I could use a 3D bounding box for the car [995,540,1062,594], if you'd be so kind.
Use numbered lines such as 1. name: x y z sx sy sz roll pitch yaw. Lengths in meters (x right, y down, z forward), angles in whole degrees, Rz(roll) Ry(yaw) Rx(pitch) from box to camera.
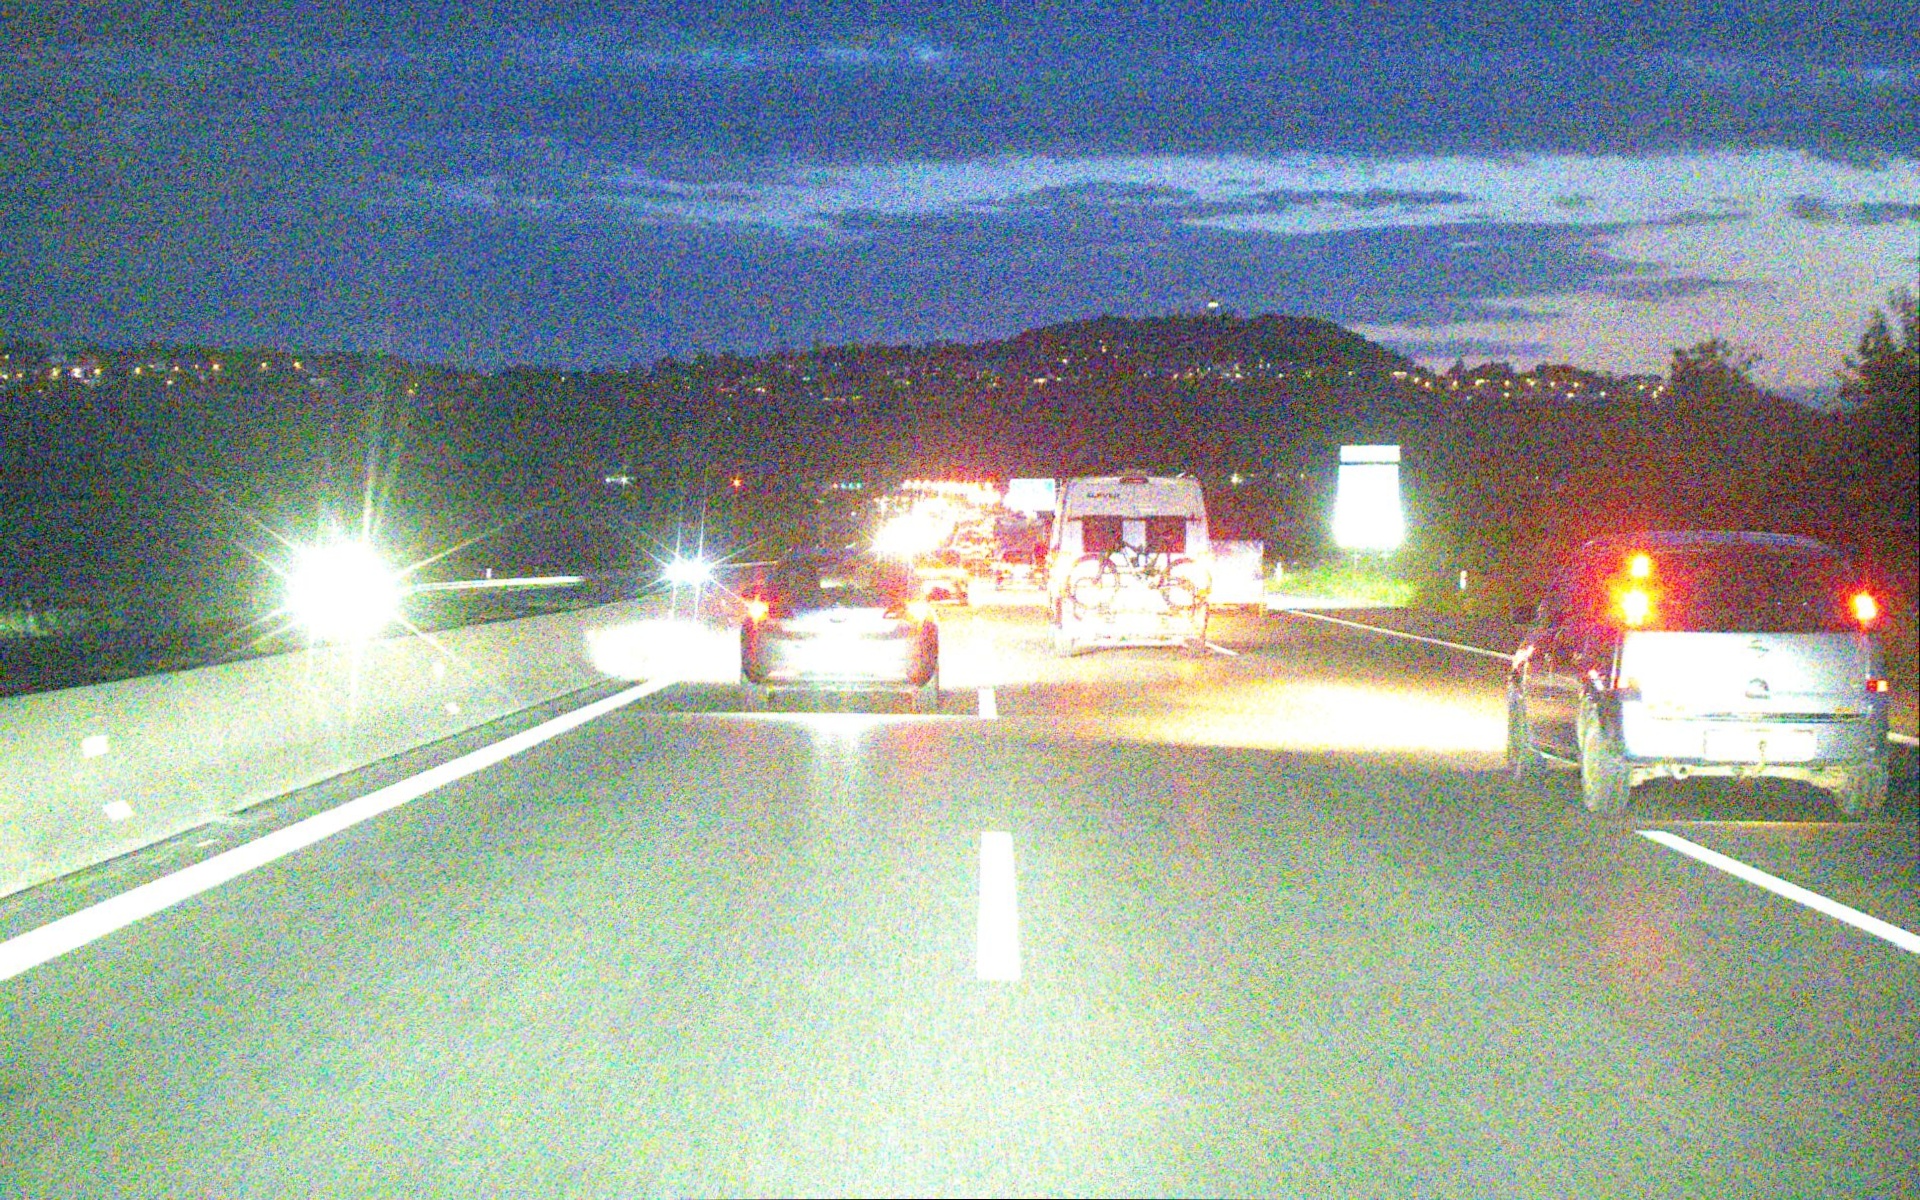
1. car: 2.490 -1.221 125.473 2.351 1.907 4.723 -1 1 1

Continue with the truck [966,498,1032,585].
1. truck: 1.796 -2.714 160.262 2.781 3.942 7.994 -1 1 -1

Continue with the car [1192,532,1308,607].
1. car: 6.256 -0.686 74.626 2.163 1.558 4.723 0 1 1

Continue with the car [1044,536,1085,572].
1. car: 6.327 -2.779 208.445 2.351 2.068 4.723 -1 1 1

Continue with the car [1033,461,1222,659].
1. car: 2.230 -0.584 47.471 2.351 2.526 5.701 -1 1 1

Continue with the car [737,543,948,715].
1. car: -1.033 0.219 31.911 1.793 1.464 3.773 0 1 1

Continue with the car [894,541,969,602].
1. car: -0.684 -0.729 85.692 1.745 1.435 4.367 -1 1 1

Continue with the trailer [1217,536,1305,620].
1. trailer: 6.199 -0.474 70.993 1.566 1.687 2.821 -1 1 1

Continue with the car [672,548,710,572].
1. car: -16.771 -2.501 214.370 1.993 1.414 4.983 -3 1 -1

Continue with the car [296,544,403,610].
1. car: -17.223 -0.676 97.149 2.045 1.714 4.775 -3 1 1

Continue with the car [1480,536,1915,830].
1. car: 4.343 0.415 20.907 1.646 1.591 4.510 0 1 0
